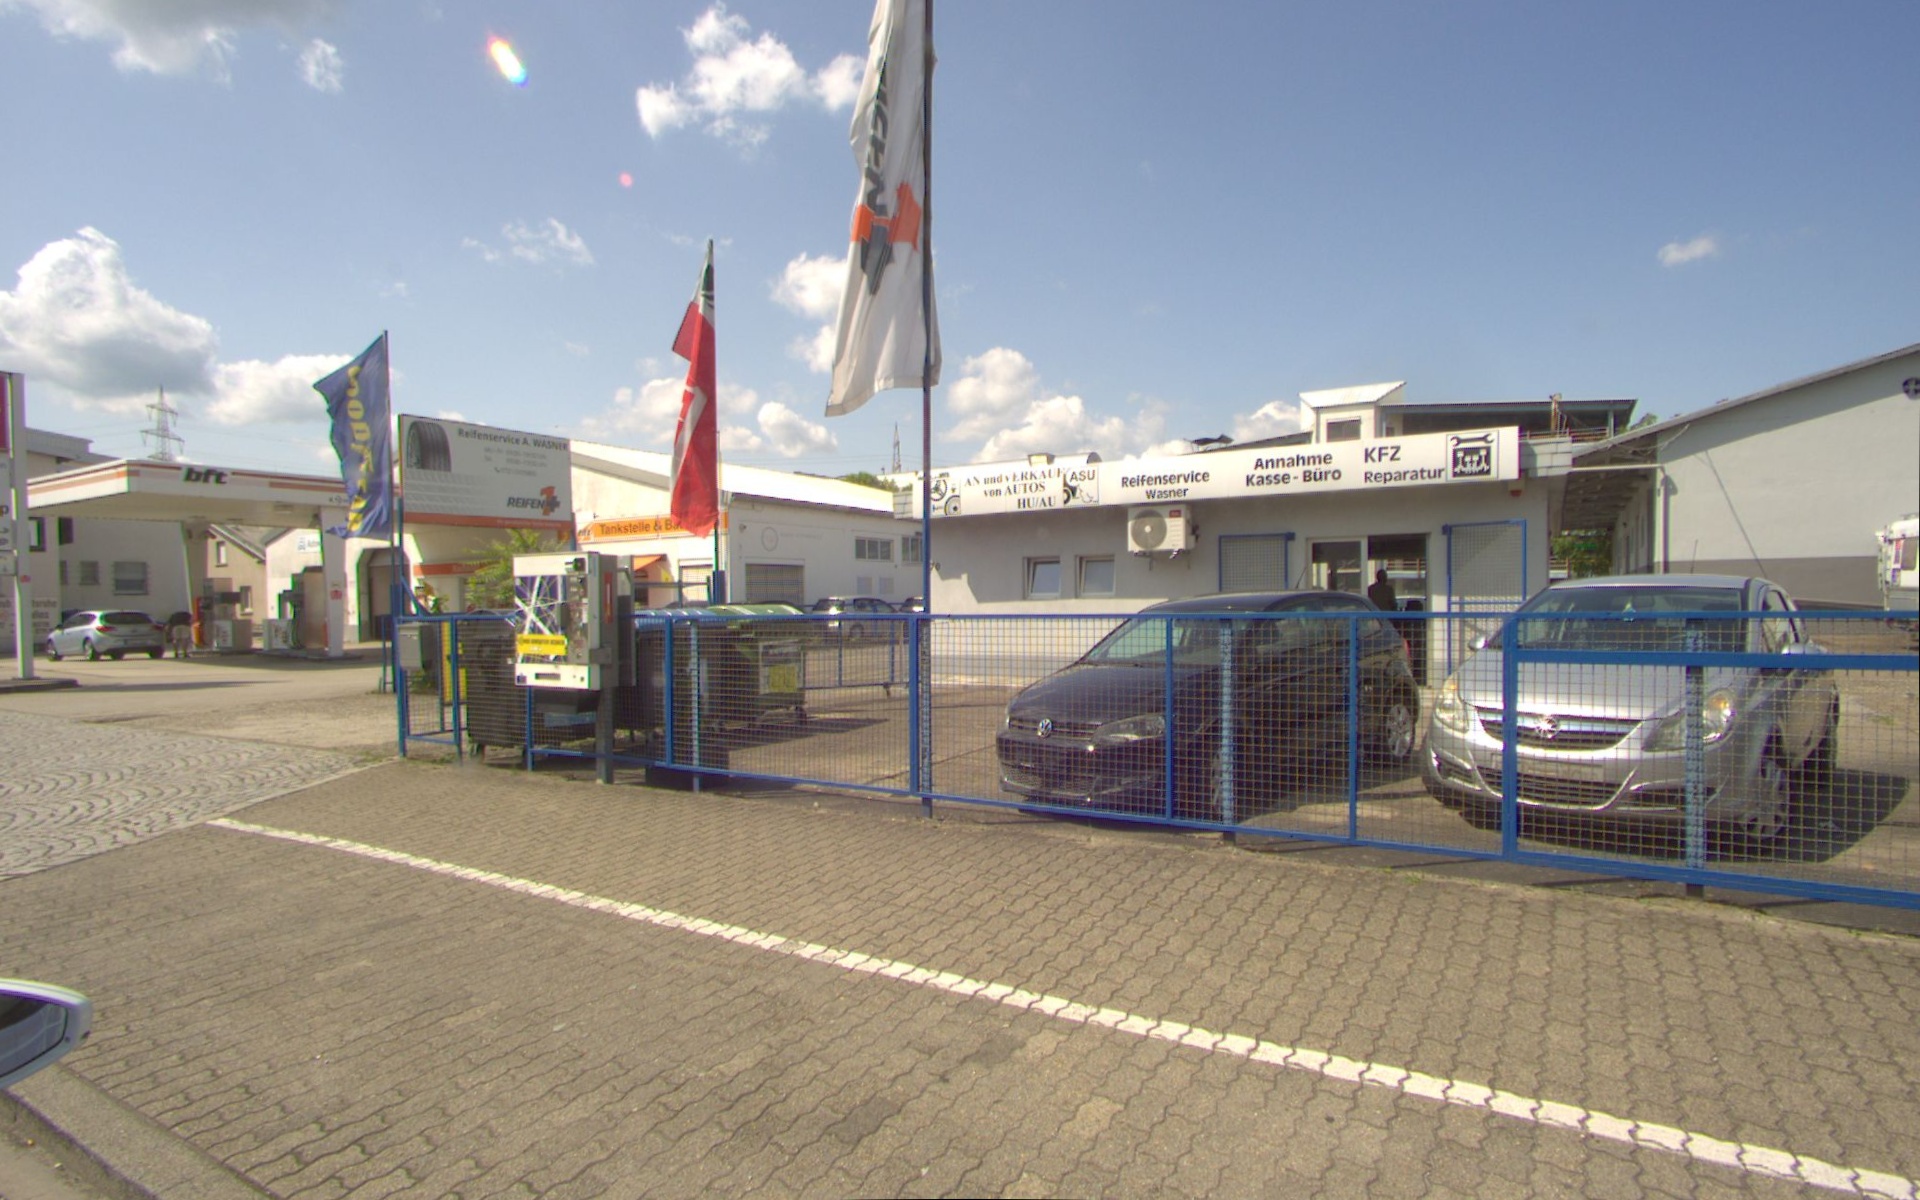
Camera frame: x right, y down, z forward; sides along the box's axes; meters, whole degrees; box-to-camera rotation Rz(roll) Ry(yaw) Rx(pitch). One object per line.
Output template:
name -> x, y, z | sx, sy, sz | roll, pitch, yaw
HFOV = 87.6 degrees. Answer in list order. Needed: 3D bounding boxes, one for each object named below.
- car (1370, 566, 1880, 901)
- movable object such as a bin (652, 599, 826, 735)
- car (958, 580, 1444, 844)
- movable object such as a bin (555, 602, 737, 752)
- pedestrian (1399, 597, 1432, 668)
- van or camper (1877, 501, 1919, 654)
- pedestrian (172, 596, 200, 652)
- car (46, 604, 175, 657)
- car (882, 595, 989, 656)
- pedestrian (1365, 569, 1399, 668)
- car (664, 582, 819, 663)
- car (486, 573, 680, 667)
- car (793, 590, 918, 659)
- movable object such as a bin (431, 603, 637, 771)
car -> 4.502, 0.583, 6.514 | 4.104, 1.499, 1.787 | -1, 0, -42
movable object such as a bin -> -2.605, 0.739, 11.902 | 1.433, 1.473, 1.427 | 0, 1, 31
car -> 2.015, 0.623, 7.651 | 3.962, 1.499, 1.705 | -1, 1, -43
movable object such as a bin -> -3.371, 0.771, 10.787 | 1.434, 1.473, 1.224 | 0, 1, 31
pedestrian -> 7.979, 0.558, 17.527 | 0.480, 1.229, 0.499 | 0, 1, 30
van or camper -> 21.347, -0.463, 19.323 | 4.983, 3.002, 2.276 | 0, 1, 31
pedestrian -> -23.739, 0.725, 30.718 | 0.628, 1.705, 0.618 | -1, 1, -36
car -> -25.833, 0.886, 30.437 | 3.950, 1.499, 1.829 | -1, 1, 31
car -> -0.804, 0.858, 35.879 | 1.971, 2.040, 3.979 | 0, 0, 32
pedestrian -> 7.410, 0.321, 17.583 | 0.480, 1.710, 0.499 | 0, 1, 30
car -> -5.947, 0.567, 27.639 | 1.971, 2.040, 3.979 | 0, 0, 32
car -> -8.913, 0.431, 23.985 | 1.971, 2.040, 3.979 | 0, 0, 32
car -> -3.264, 0.723, 31.990 | 1.971, 2.040, 3.979 | 0, 0, 32
movable object such as a bin -> -4.132, 0.780, 9.748 | 1.434, 1.473, 1.224 | 0, 1, 31
